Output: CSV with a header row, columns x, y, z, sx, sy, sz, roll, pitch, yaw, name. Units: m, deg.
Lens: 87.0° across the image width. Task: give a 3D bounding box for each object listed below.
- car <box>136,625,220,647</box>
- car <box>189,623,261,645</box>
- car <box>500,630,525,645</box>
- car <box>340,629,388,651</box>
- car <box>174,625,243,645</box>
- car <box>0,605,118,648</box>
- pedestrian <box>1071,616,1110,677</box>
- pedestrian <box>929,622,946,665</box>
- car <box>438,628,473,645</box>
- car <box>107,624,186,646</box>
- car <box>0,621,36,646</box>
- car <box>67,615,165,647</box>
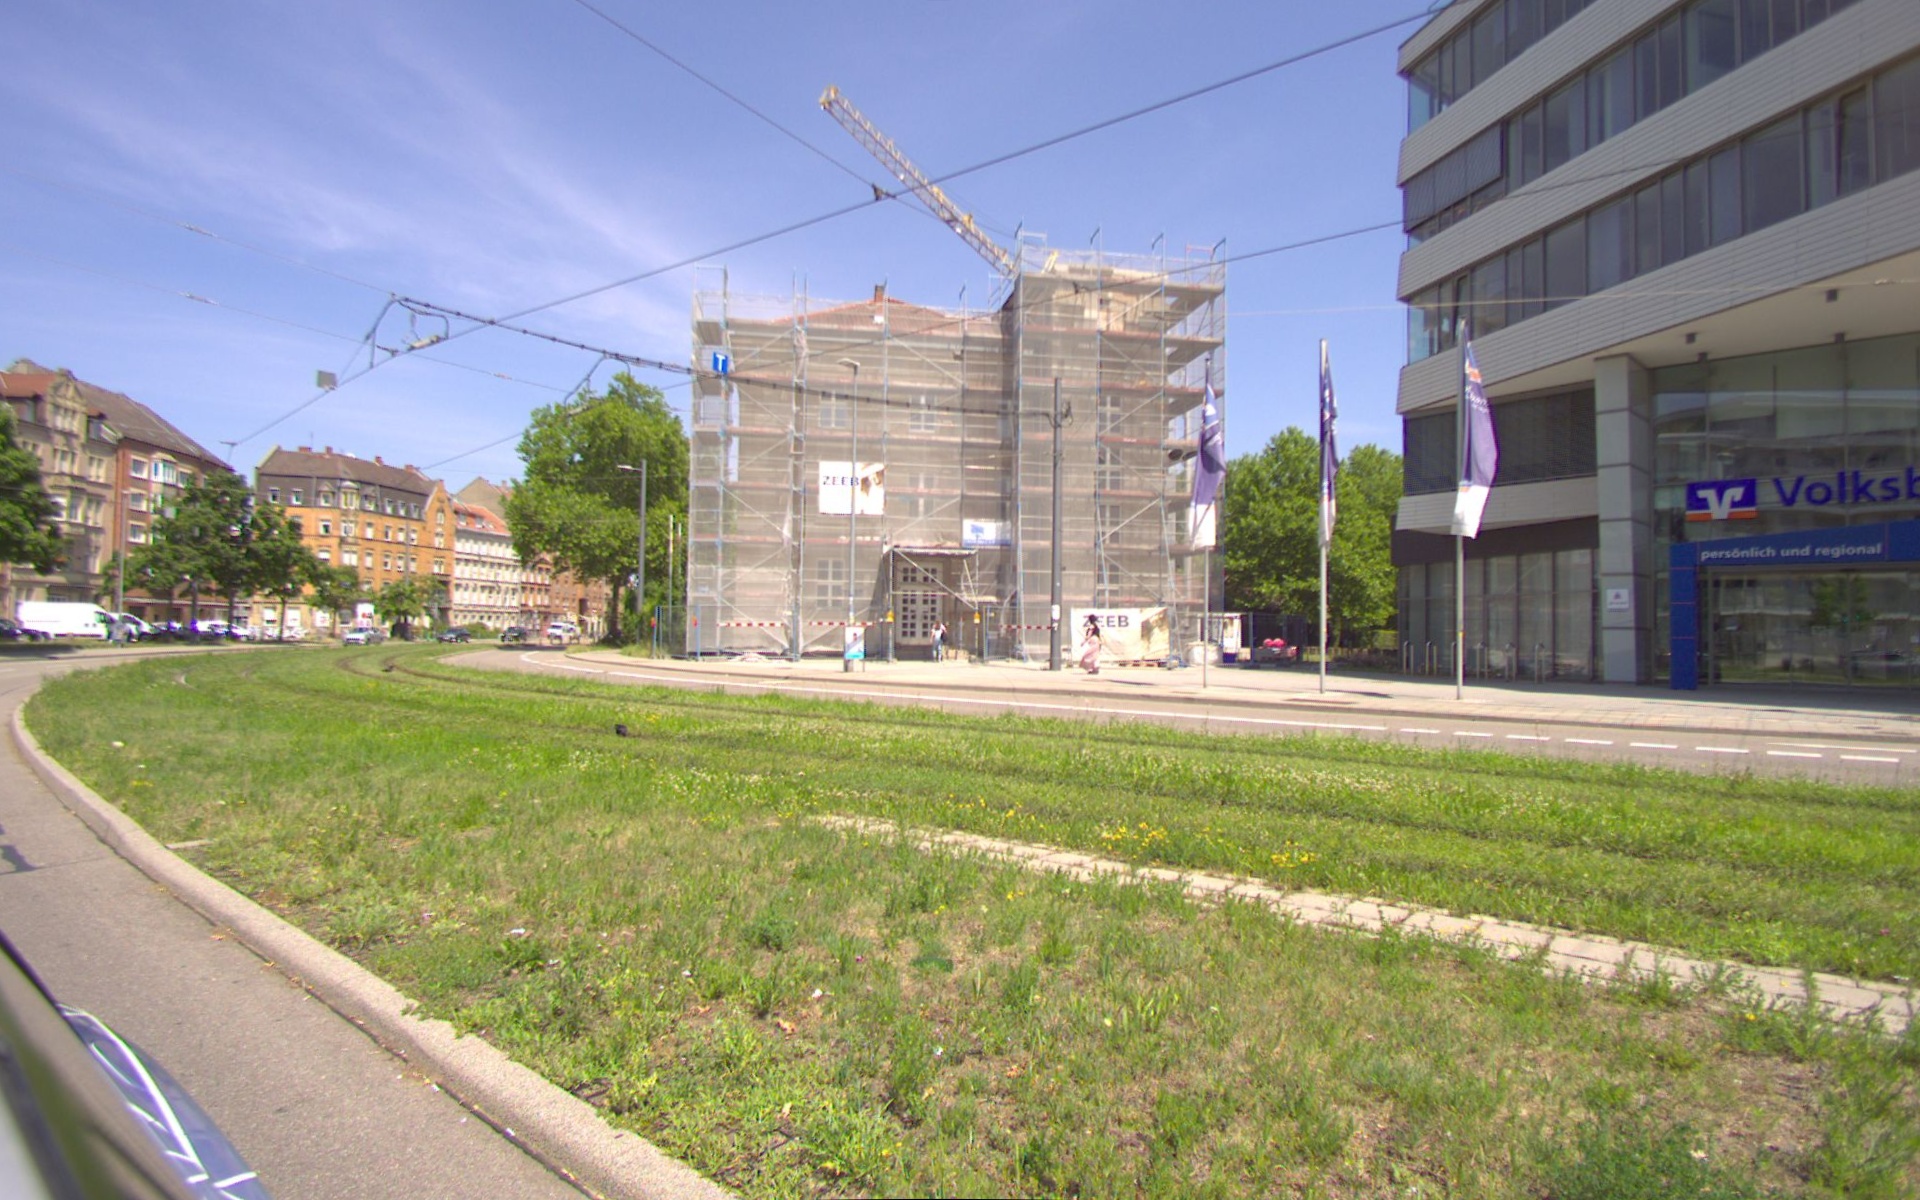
x,y,z,sx,sy,sz,roll,pitch,yaw,name
-55.342,2.521,71.755,4.556,1.508,1.970,1,-2,-34,car
-56.496,2.596,77.892,4.338,1.644,2.006,0,-2,-32,car
-49.112,4.095,111.141,1.772,1.586,4.009,0,-2,-12,car
-44.127,2.944,75.026,1.772,1.586,4.008,0,-2,-9,car
-55.575,2.563,74.946,3.932,1.410,1.829,0,-2,-31,car
-54.485,1.597,61.013,2.238,2.479,5.473,-3,-3,43,car
3.582,1.267,27.729,0.908,1.643,0.745,-1,-2,18,pedestrian
-0.801,1.552,36.164,0.573,1.530,0.589,-1,-2,3,pedestrian
-46.968,3.398,94.281,1.772,1.586,4.008,0,-2,-9,car
-54.734,2.354,68.171,3.932,1.397,1.829,0,-2,-31,car
-52.148,1.789,53.764,1.972,1.349,4.369,-2,-3,43,car
-54.255,1.994,65.143,4.771,1.988,2.080,1,-2,-39,car
